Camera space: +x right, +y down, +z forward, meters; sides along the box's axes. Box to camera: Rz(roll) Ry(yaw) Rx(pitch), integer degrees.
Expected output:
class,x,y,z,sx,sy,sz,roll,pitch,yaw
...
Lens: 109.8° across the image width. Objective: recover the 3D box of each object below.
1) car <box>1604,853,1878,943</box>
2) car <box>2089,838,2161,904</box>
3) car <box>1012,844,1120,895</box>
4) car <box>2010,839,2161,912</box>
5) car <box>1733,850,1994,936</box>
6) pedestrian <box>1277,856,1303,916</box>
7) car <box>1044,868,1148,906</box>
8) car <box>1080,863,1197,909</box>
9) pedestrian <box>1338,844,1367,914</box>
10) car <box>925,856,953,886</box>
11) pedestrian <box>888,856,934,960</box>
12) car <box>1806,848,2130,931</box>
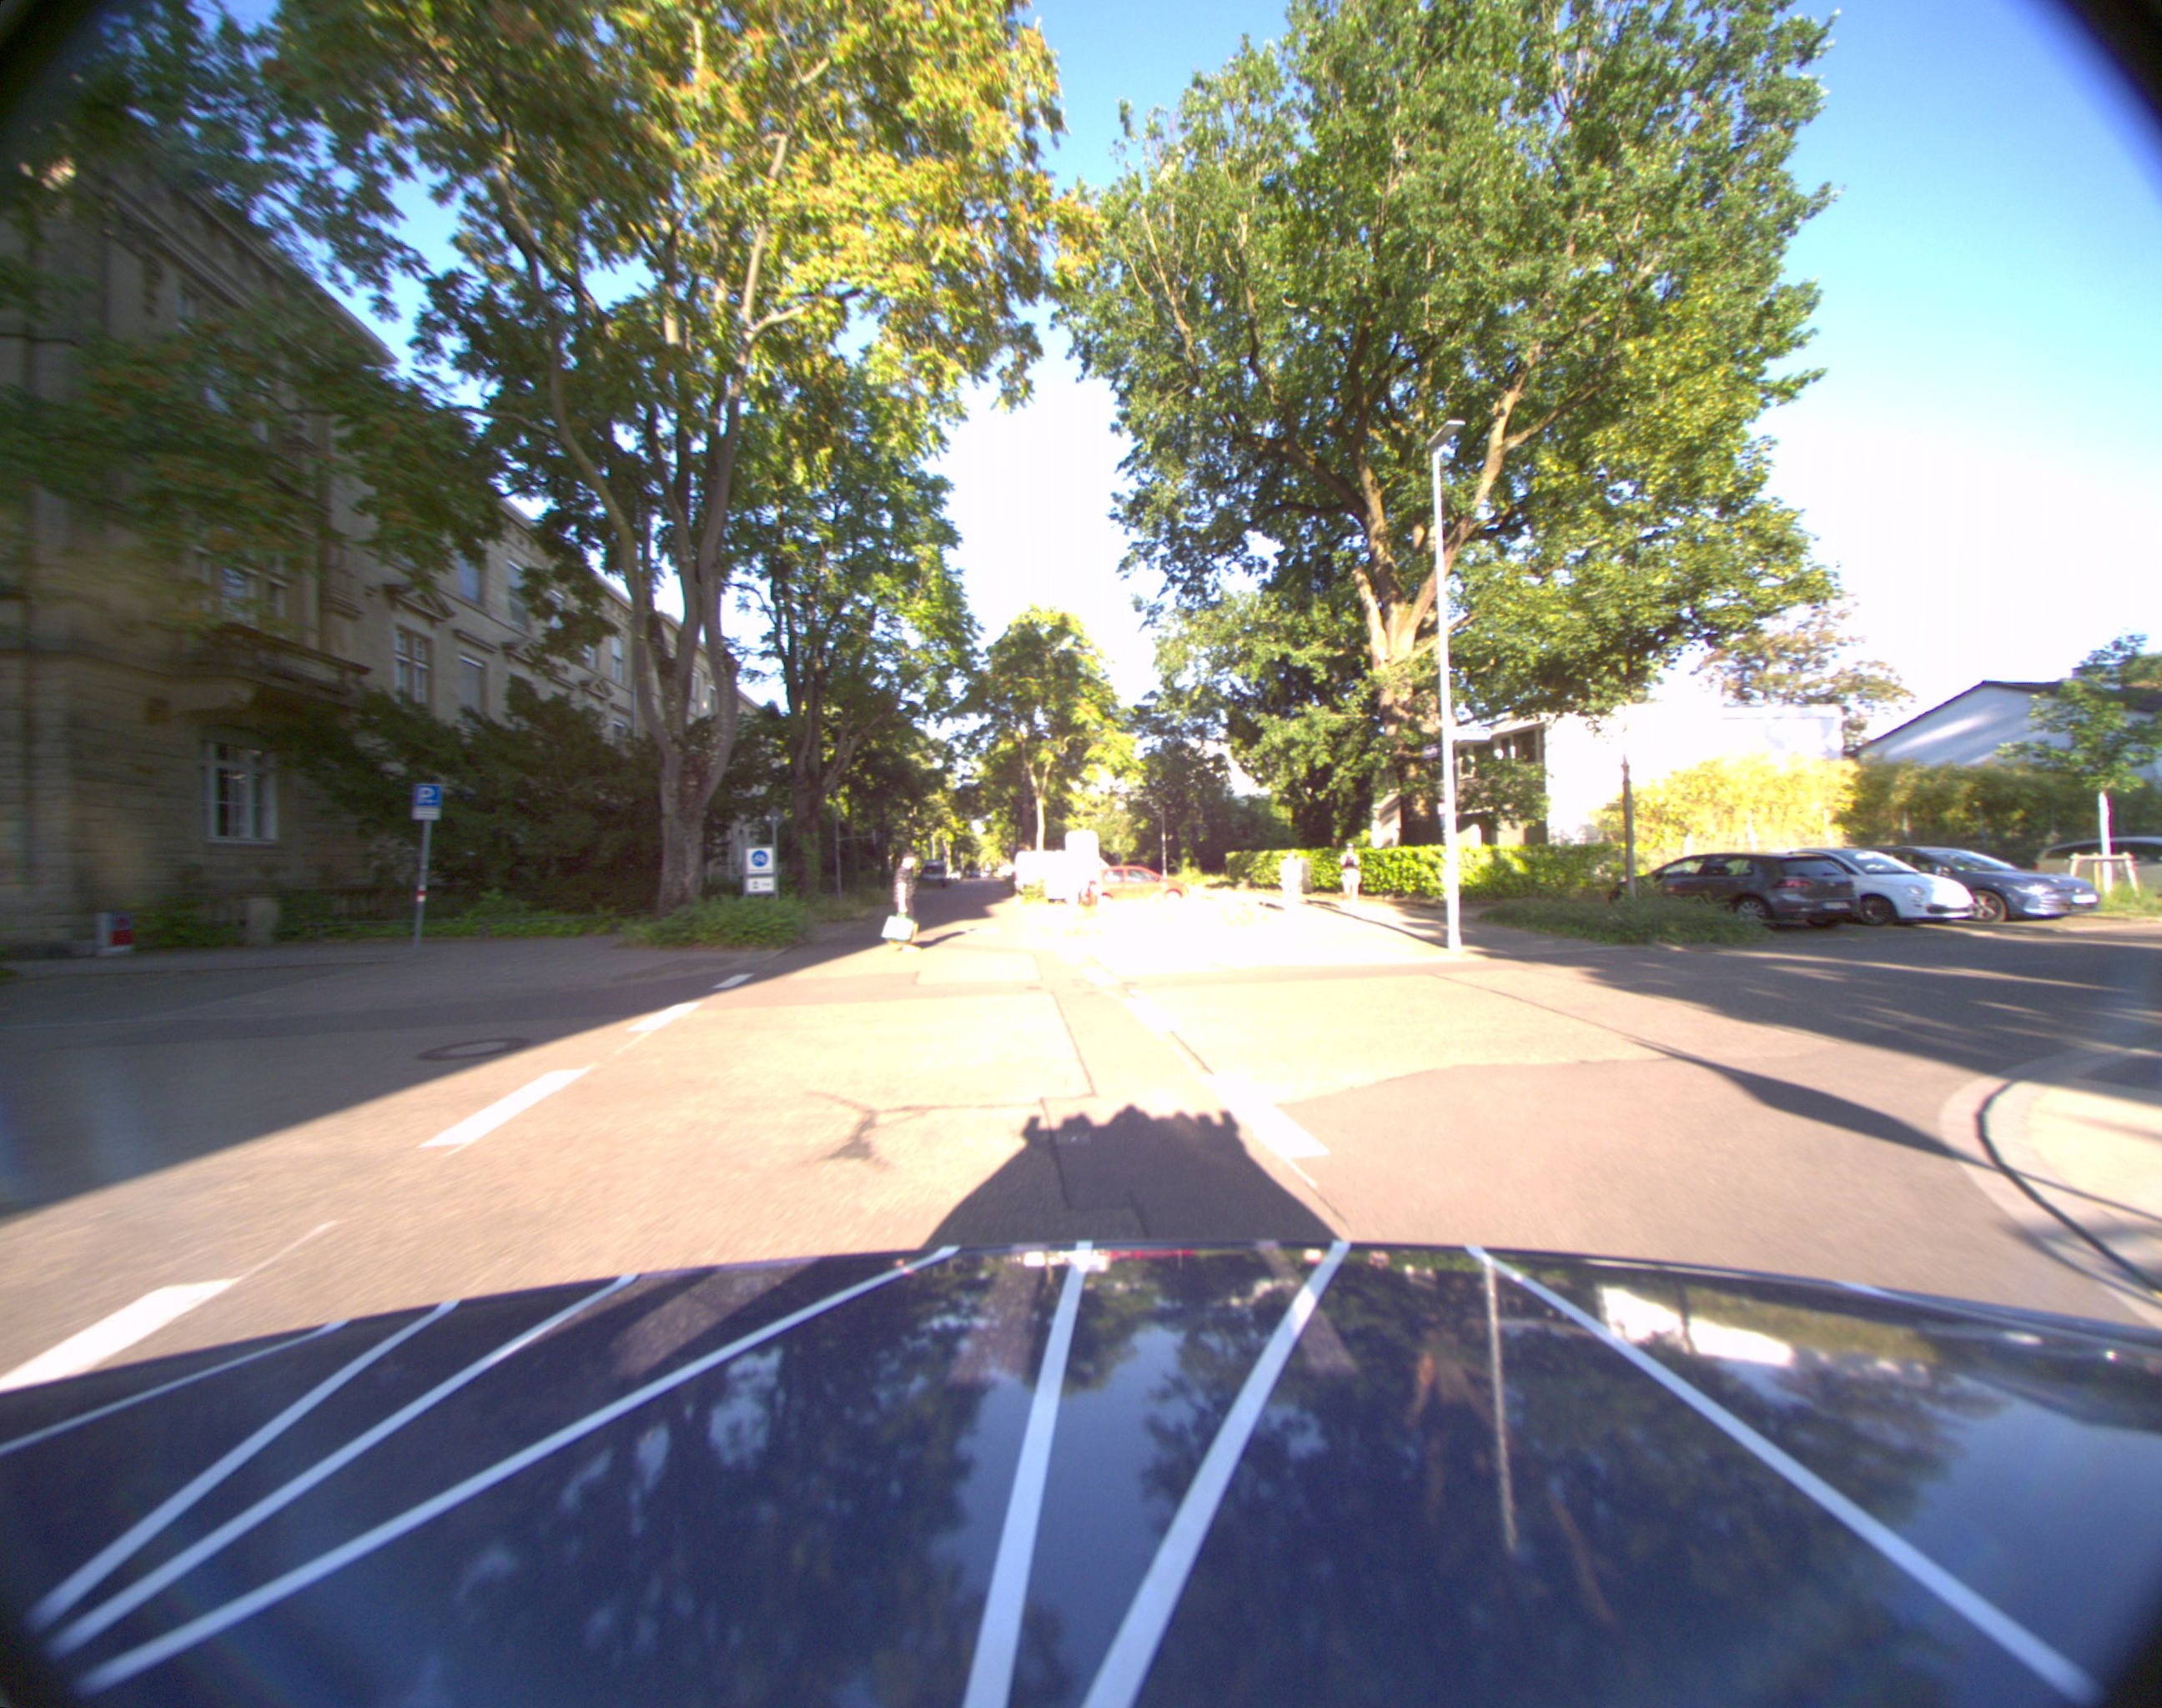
class,x,y,z,sx,sy,sz,roll,pitch,yaw
car,12.942,0.799,15.277,1.645,1.507,3.997,-2,-1,-9
car,26.457,0.385,17.258,1.745,1.528,3.920,-2,1,-10
car,-0.905,0.851,43.714,5.911,2.684,2.219,-2,0,-10
car,24.004,0.457,16.870,1.745,1.528,3.920,-2,1,-10
car,15.623,0.692,15.412,1.638,1.483,3.352,-2,1,-10
pedestrian,5.604,0.849,20.348,0.435,1.571,0.666,-2,0,-3
car,0.599,1.364,31.712,4.060,1.411,1.717,-2,-1,-10
car,1.949,1.079,26.247,3.680,1.411,1.717,-2,-1,-10
pedestrian,7.094,0.649,19.848,0.435,1.764,0.666,-2,0,-3
car,-12.833,1.565,68.814,1.952,2.583,4.165,-2,-1,-5
pedestrian,-3.217,0.990,14.355,0.615,1.907,0.721,-1,1,-31
car,18.113,0.623,15.872,1.811,1.448,4.097,-2,1,-6
